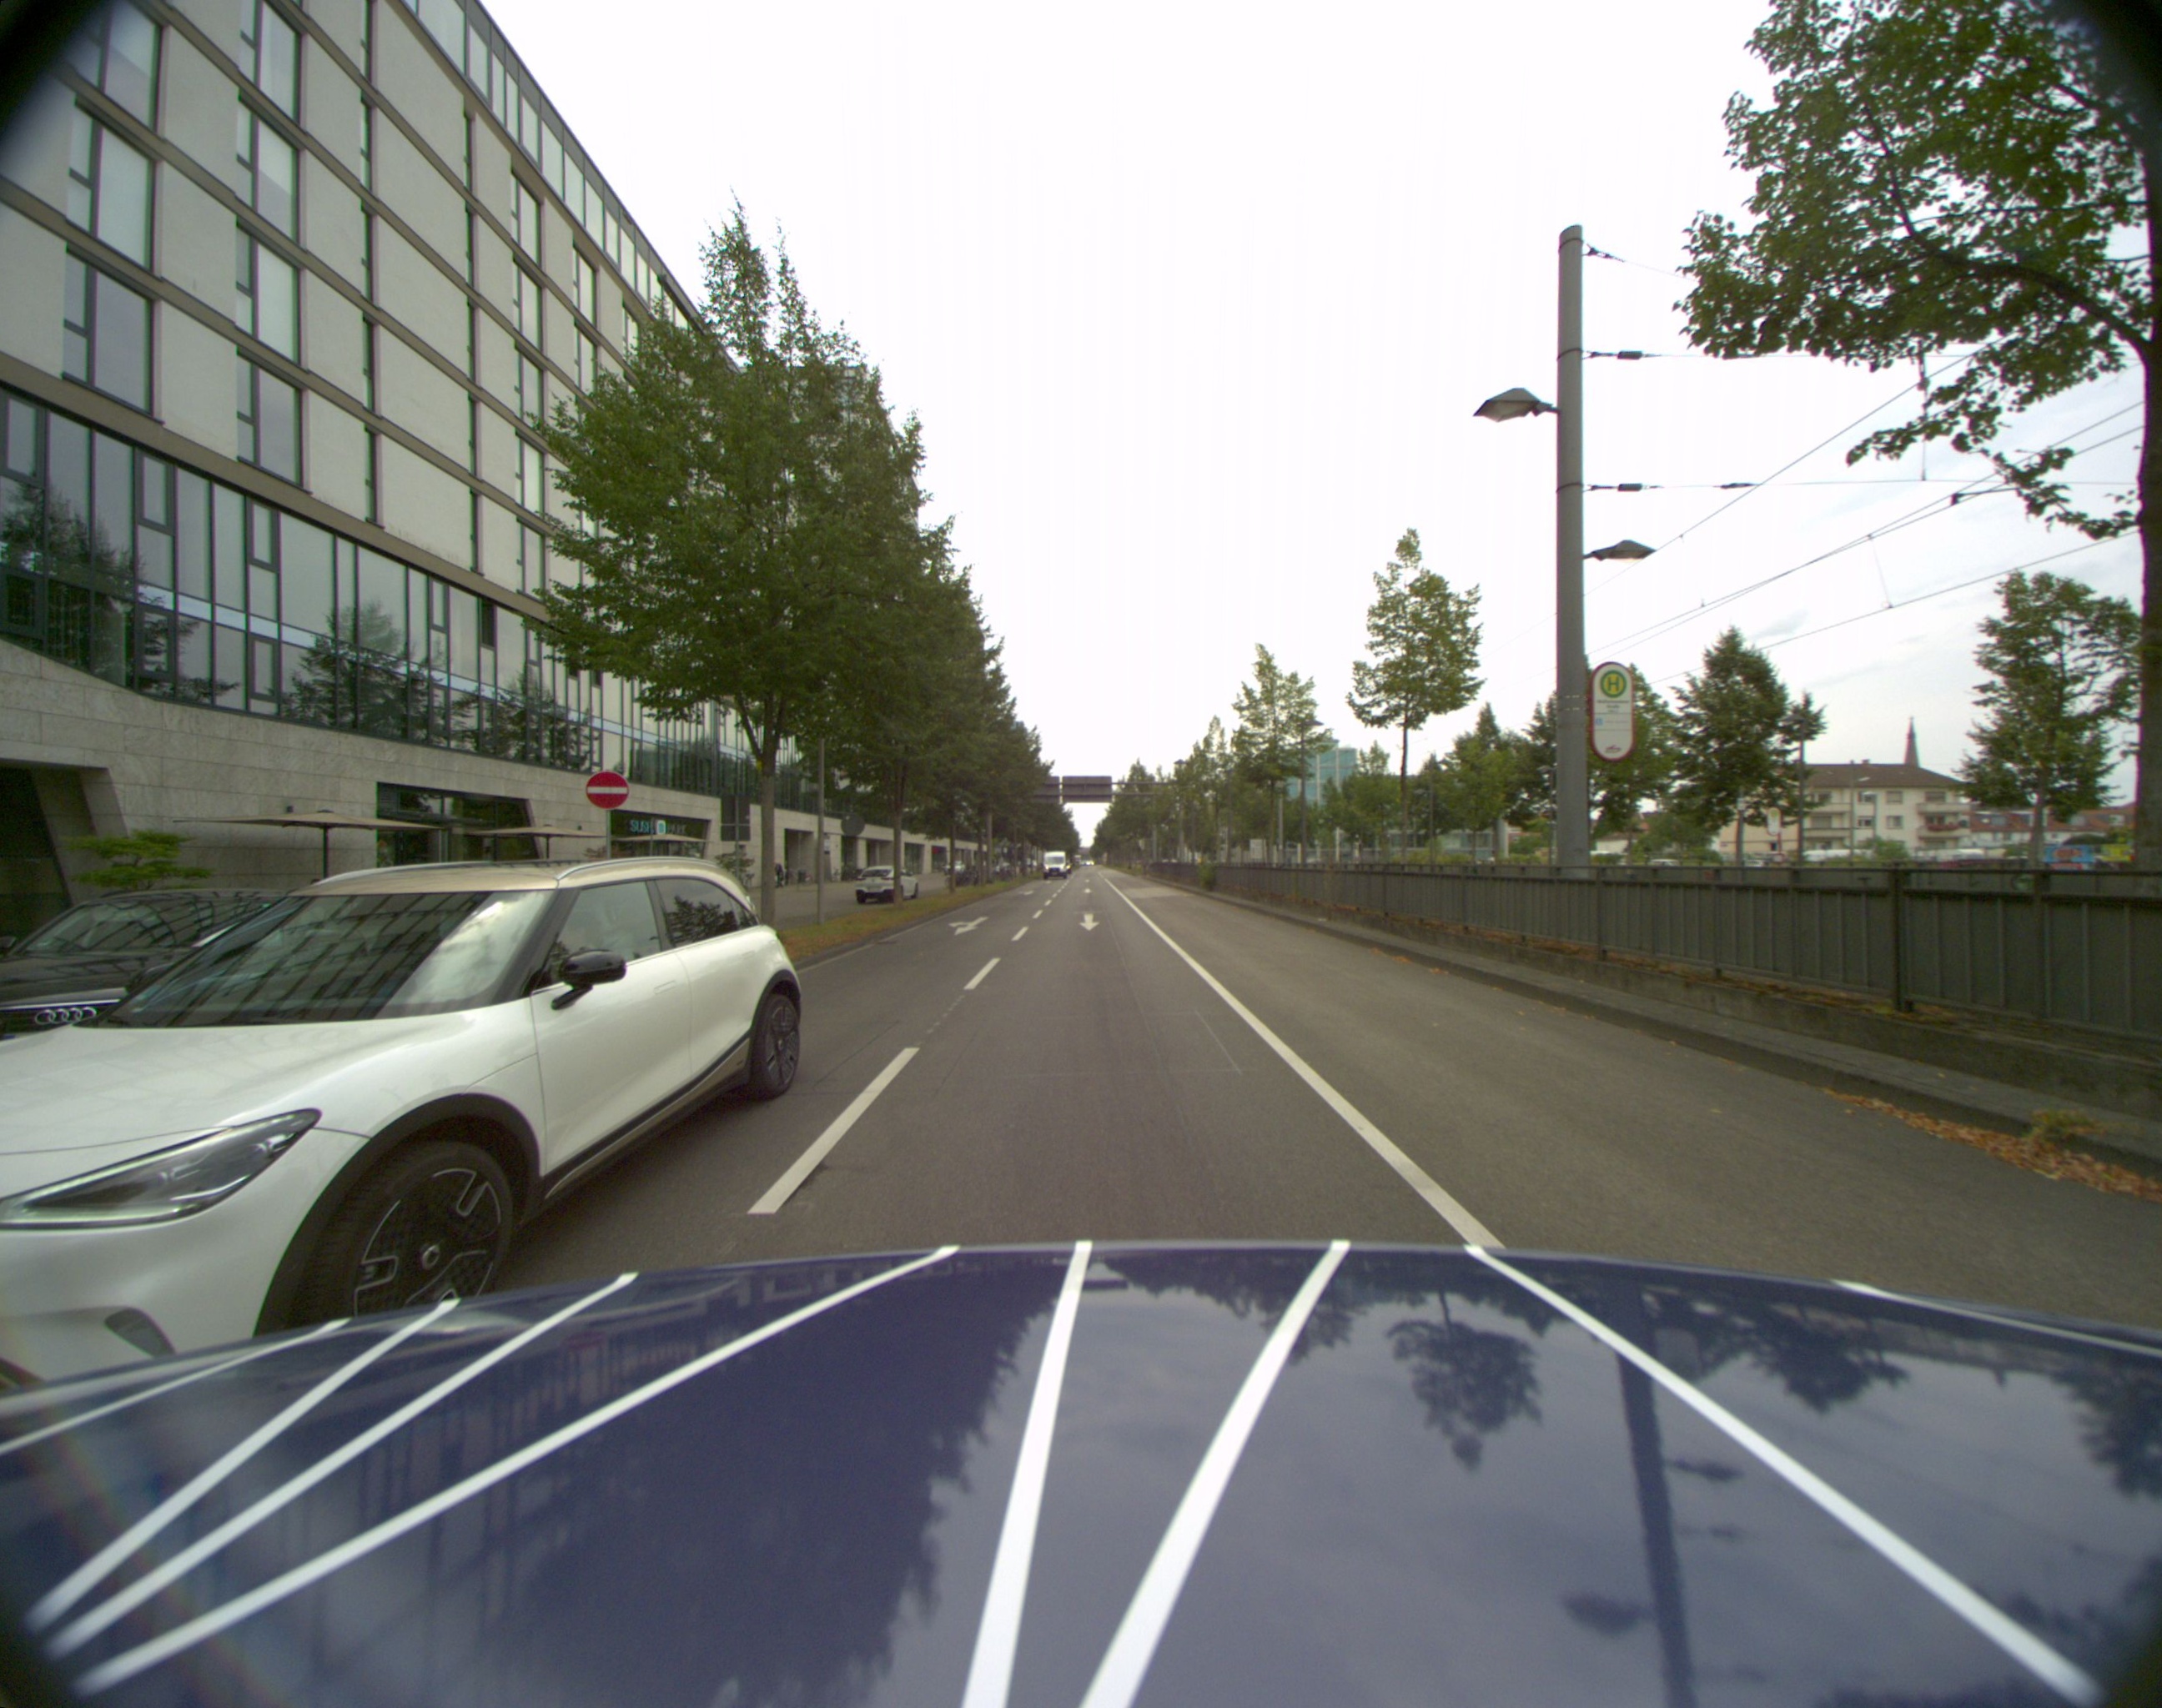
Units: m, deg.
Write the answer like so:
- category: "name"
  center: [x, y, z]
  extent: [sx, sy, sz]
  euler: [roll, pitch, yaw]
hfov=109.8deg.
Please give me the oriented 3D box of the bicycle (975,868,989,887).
- category: "bicycle"
  center: [-6.075, 1.446, 46.689]
  extent: [0.712, 1.109, 2.202]
  euler: [-4, 0, -7]

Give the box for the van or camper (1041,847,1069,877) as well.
- category: "van or camper"
  center: [-2.301, 0.738, 68.996]
  extent: [2.184, 2.493, 6.339]
  euler: [-2, 0, 0]

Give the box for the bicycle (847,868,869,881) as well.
- category: "bicycle"
  center: [-17.435, 1.616, 59.501]
  extent: [1.533, 1.020, 0.533]
  euler: [0, 0, -3]

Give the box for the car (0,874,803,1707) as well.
- category: "car"
  center: [-2.951, 0.984, 3.442]
  extent: [1.783, 1.646, 4.024]
  euler: [-2, 0, 1]

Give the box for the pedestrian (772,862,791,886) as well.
- category: "pedestrian"
  center: [-17.658, 1.170, 44.801]
  extent: [0.758, 1.398, 0.721]
  euler: [0, 0, 8]

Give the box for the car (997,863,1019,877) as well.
- category: "car"
  center: [-7.630, 1.646, 79.558]
  extent: [1.765, 1.413, 4.183]
  euler: [-1, 0, 1]

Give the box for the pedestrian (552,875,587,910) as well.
- category: "pedestrian"
  center: [-18.108, 1.359, 26.906]
  extent: [0.720, 1.185, 0.759]
  euler: [0, 0, 2]

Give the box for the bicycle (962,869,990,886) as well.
- category: "bicycle"
  center: [-7.509, 1.674, 54.369]
  extent: [1.936, 1.059, 0.543]
  euler: [-4, 0, -8]

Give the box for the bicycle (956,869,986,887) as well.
- category: "bicycle"
  center: [-7.570, 1.646, 52.299]
  extent: [1.935, 1.059, 0.705]
  euler: [-4, 0, -2]

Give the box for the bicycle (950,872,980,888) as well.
- category: "bicycle"
  center: [-7.641, 1.703, 50.117]
  extent: [1.865, 0.945, 0.501]
  euler: [-4, 0, -2]

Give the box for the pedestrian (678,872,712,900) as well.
- category: "pedestrian"
  center: [-17.231, 1.415, 33.936]
  extent: [0.773, 1.185, 1.107]
  euler: [0, 0, 16]

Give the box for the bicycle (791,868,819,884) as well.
- category: "bicycle"
  center: [-17.630, 1.398, 48.543]
  extent: [1.605, 1.020, 0.609]
  euler: [0, 0, -26]

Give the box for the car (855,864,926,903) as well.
- category: "car"
  center: [-8.200, 1.246, 33.124]
  extent: [1.943, 1.543, 4.594]
  euler: [-1, -1, 0]

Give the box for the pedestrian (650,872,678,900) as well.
- category: "pedestrian"
  center: [-17.889, 1.371, 32.617]
  extent: [0.719, 1.185, 0.760]
  euler: [0, 0, 23]

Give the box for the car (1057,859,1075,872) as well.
- category: "car"
  center: [-1.804, 1.407, 92.712]
  extent: [1.973, 1.528, 4.140]
  euler: [0, 0, 1]

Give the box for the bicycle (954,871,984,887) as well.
- category: "bicycle"
  center: [-7.585, 1.699, 51.607]
  extent: [1.865, 0.945, 0.612]
  euler: [-4, 0, -2]

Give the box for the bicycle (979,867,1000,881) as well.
- category: "bicycle"
  center: [-7.485, 1.637, 62.131]
  extent: [1.672, 1.084, 0.525]
  euler: [-3, 0, -3]

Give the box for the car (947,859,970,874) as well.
- category: "car"
  center: [-14.069, 1.401, 87.301]
  extent: [1.862, 1.579, 4.240]
  euler: [2, 0, 1]

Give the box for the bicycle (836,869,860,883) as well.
- category: "bicycle"
  center: [-17.126, 1.601, 55.798]
  extent: [1.602, 1.020, 0.533]
  euler: [0, 0, -3]

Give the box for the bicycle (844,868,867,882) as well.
- category: "bicycle"
  center: [-17.152, 1.618, 57.907]
  extent: [1.602, 1.020, 0.533]
  euler: [0, 0, -3]

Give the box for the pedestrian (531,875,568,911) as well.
- category: "pedestrian"
  center: [-18.128, 1.311, 25.929]
  extent: [0.720, 1.185, 0.759]
  euler: [0, 0, 0]

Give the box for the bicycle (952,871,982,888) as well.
- category: "bicycle"
  center: [-7.626, 1.702, 50.866]
  extent: [1.865, 0.945, 0.653]
  euler: [-4, 0, -2]

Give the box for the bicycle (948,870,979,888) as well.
- category: "bicycle"
  center: [-7.626, 1.633, 49.450]
  extent: [1.865, 0.989, 0.574]
  euler: [-4, 0, -2]

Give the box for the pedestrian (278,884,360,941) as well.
- category: "pedestrian"
  center: [-17.291, 1.312, 17.260]
  extent: [0.899, 1.221, 0.951]
  euler: [0, 0, 5]

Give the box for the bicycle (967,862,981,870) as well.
- category: "bicycle"
  center: [-17.435, 1.962, 123.425]
  extent: [2.238, 1.170, 0.976]
  euler: [-1, 0, -7]

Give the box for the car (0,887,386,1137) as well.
- category: "car"
  center: [-8.260, 1.138, 7.071]
  extent: [1.951, 1.467, 4.858]
  euler: [0, 0, -34]

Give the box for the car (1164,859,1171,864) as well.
- category: "car"
  center: [25.255, 2.125, 221.026]
  extent: [1.752, 1.448, 3.865]
  euler: [-1, 0, 2]
